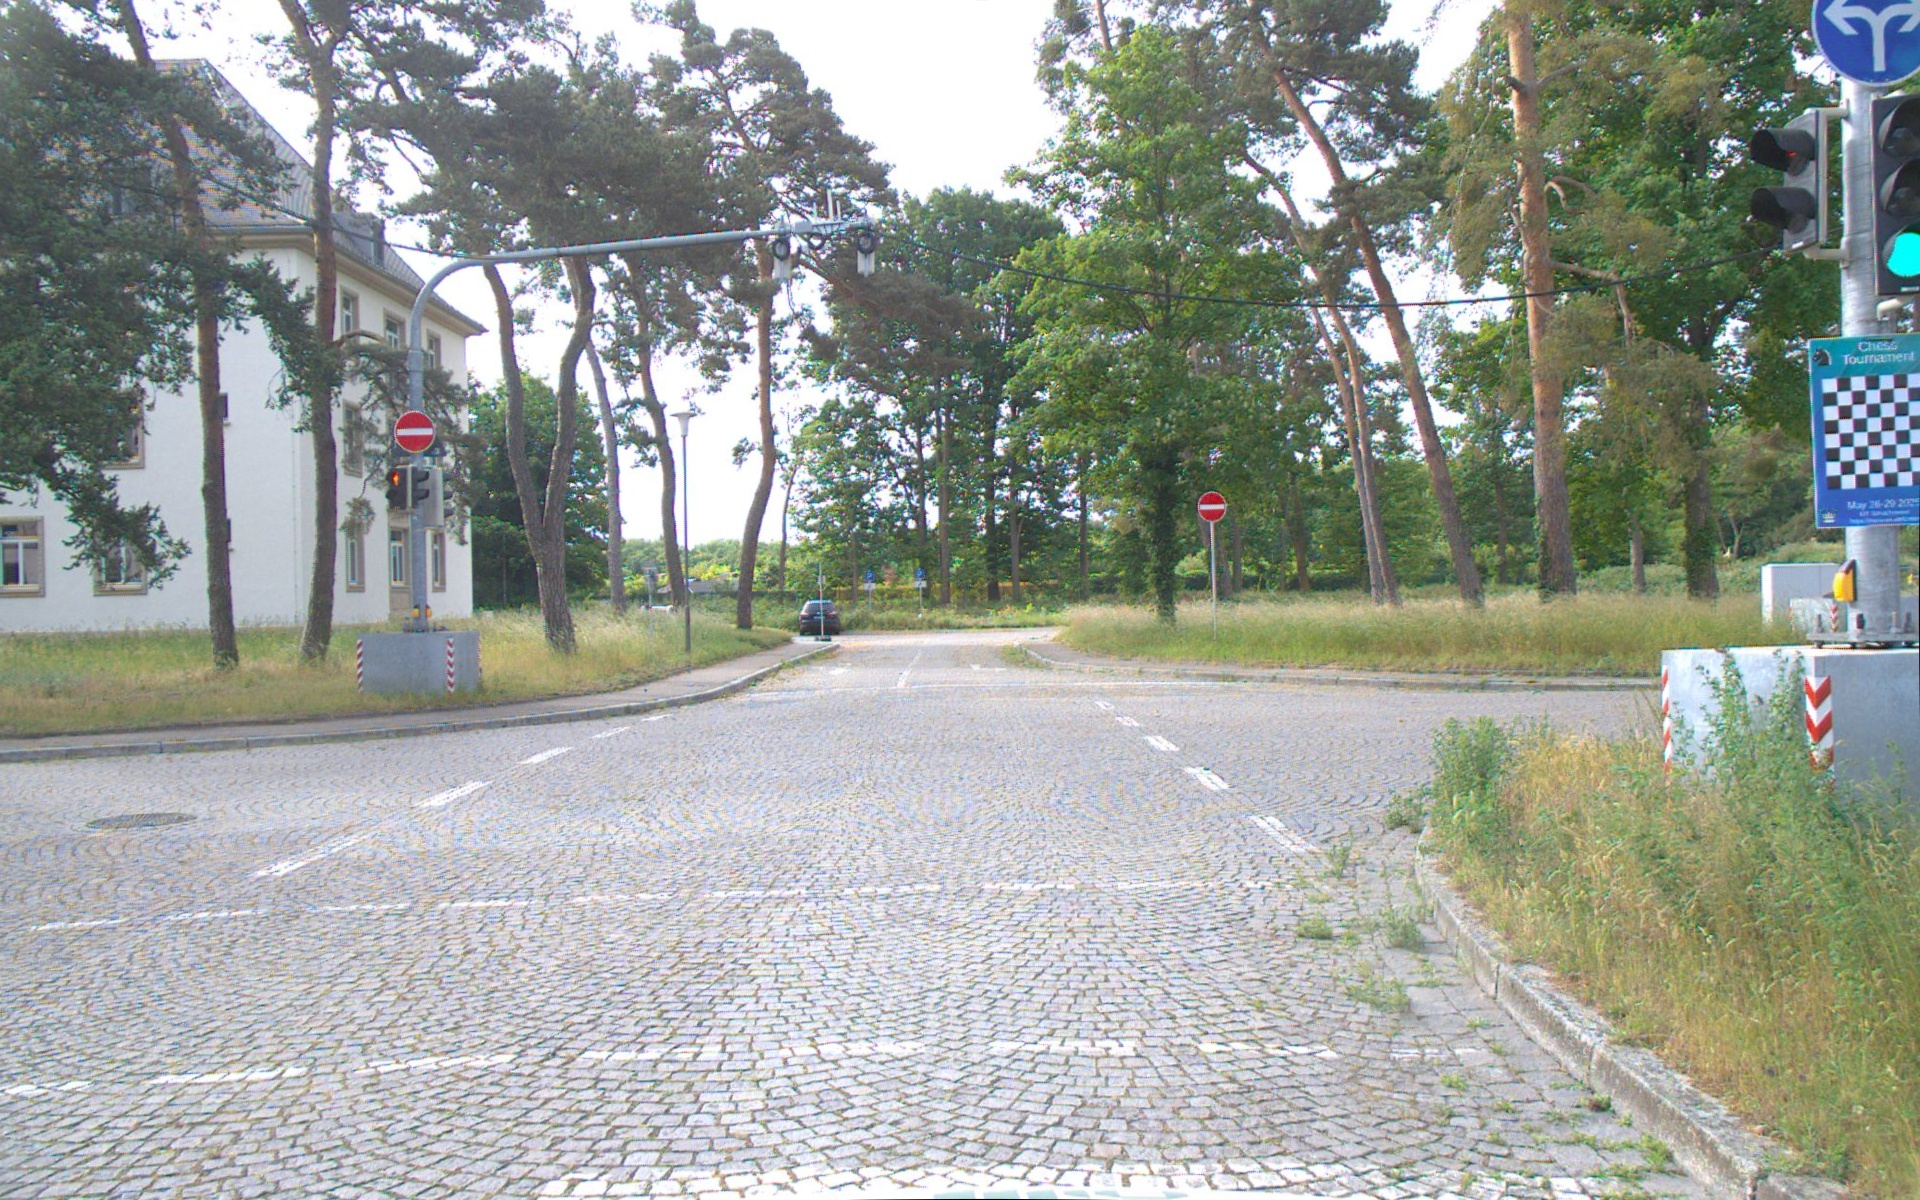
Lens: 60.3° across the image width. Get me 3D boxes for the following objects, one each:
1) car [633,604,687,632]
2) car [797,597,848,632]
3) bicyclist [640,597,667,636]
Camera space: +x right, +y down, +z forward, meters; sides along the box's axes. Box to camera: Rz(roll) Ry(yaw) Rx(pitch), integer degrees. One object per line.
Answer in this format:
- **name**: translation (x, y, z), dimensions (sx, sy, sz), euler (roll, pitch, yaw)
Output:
- **car**: translation (-13.785, 0.795, 76.149), dimensions (1.654, 1.176, 4.000), euler (-2, 0, 1)
- **car**: translation (-6.229, 0.642, 75.245), dimensions (1.952, 1.534, 4.000), euler (0, 0, 1)
- **bicyclist**: translation (-12.497, 0.681, 67.426), dimensions (0.955, 1.537, 0.807), euler (-2, 0, -4)
